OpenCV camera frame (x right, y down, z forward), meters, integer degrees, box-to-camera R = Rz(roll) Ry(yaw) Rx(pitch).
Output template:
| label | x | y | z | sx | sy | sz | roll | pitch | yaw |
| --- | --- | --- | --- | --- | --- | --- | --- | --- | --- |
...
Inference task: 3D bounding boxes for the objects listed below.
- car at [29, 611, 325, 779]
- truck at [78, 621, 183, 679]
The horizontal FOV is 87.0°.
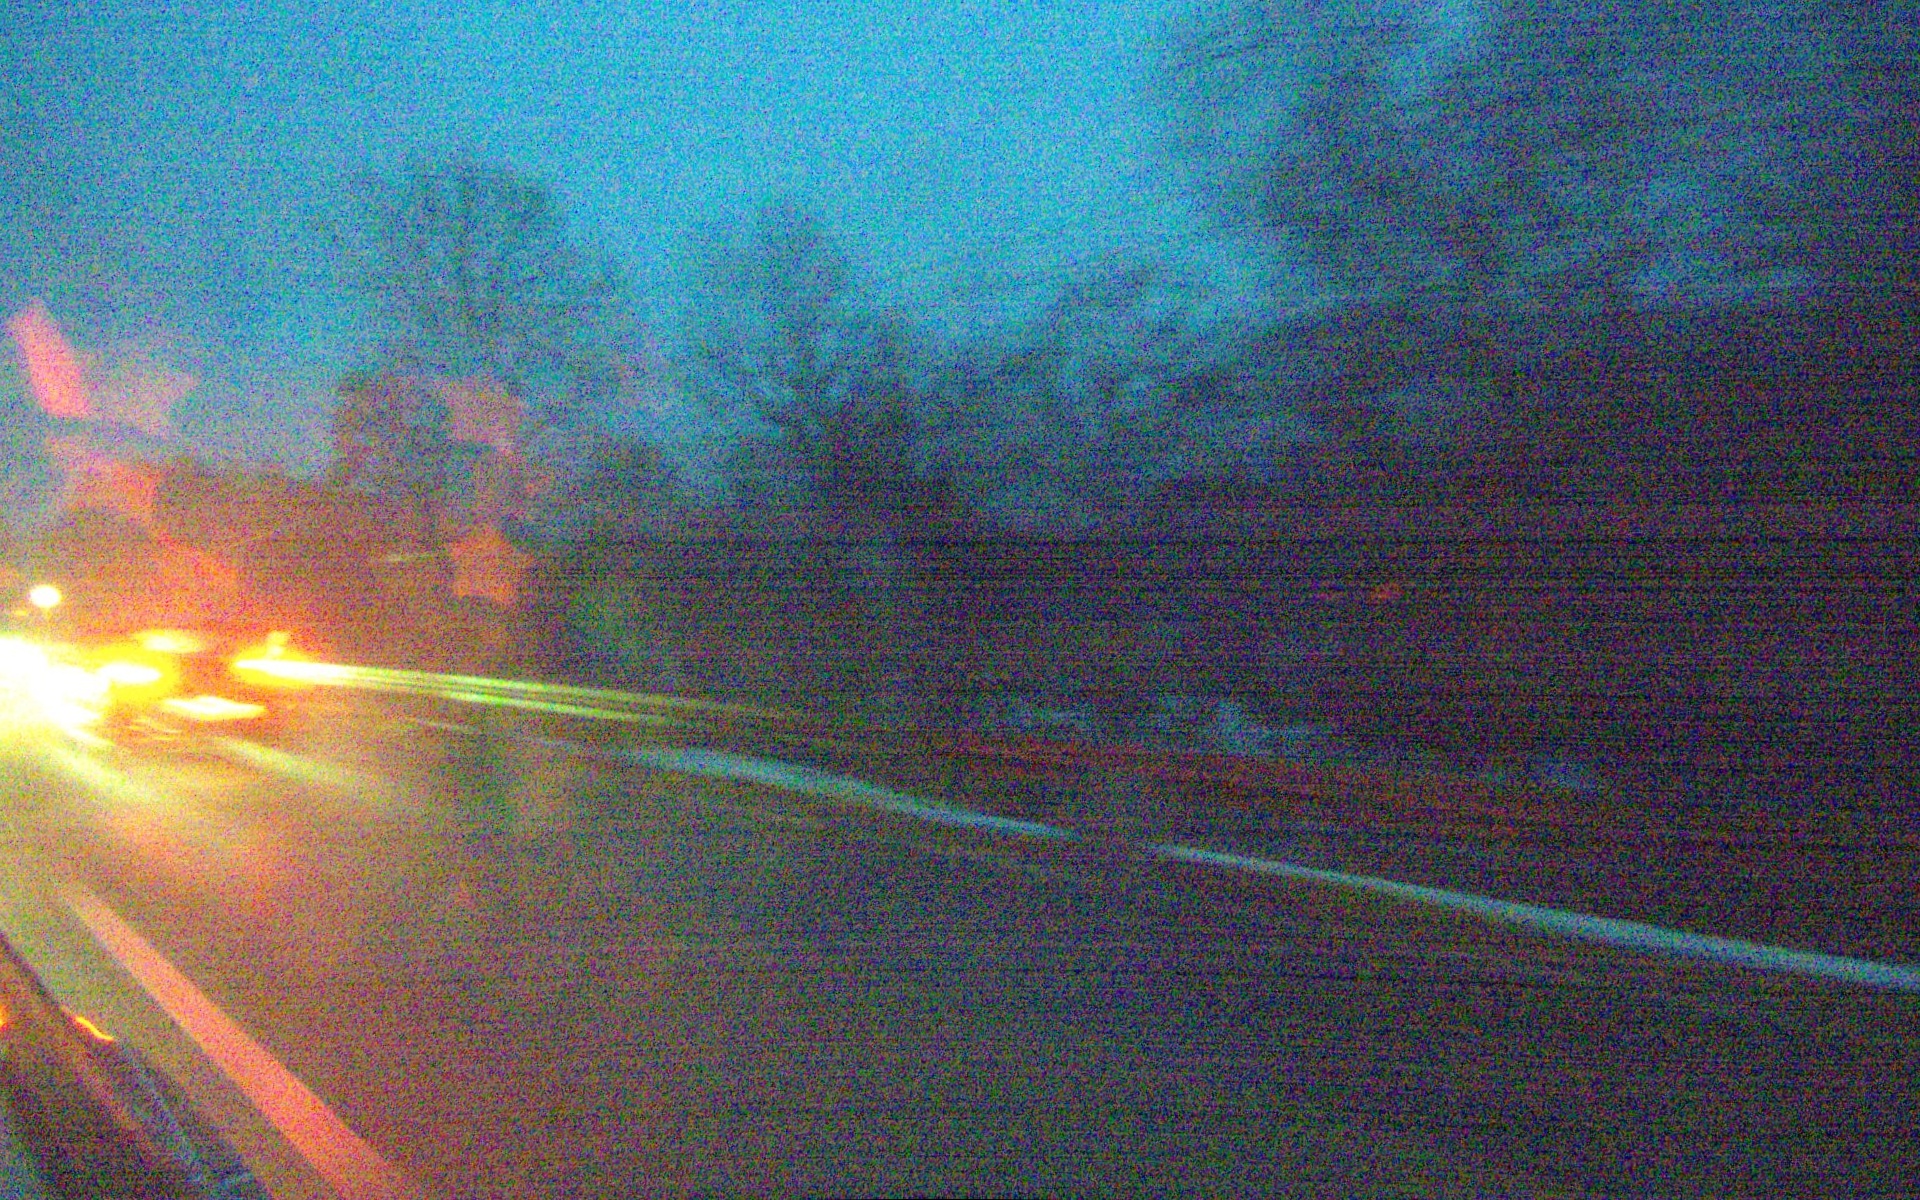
| label | x | y | z | sx | sy | sz | roll | pitch | yaw |
| --- | --- | --- | --- | --- | --- | --- | --- | --- | --- |
| car | -8.458 | 0.876 | 10.868 | 3.215 | 1.495 | 1.972 | -1 | -1 | 42 |
| truck | -46.600 | 2.687 | 56.700 | 10.461 | 2.857 | 2.896 | -1 | 0 | 41 |
